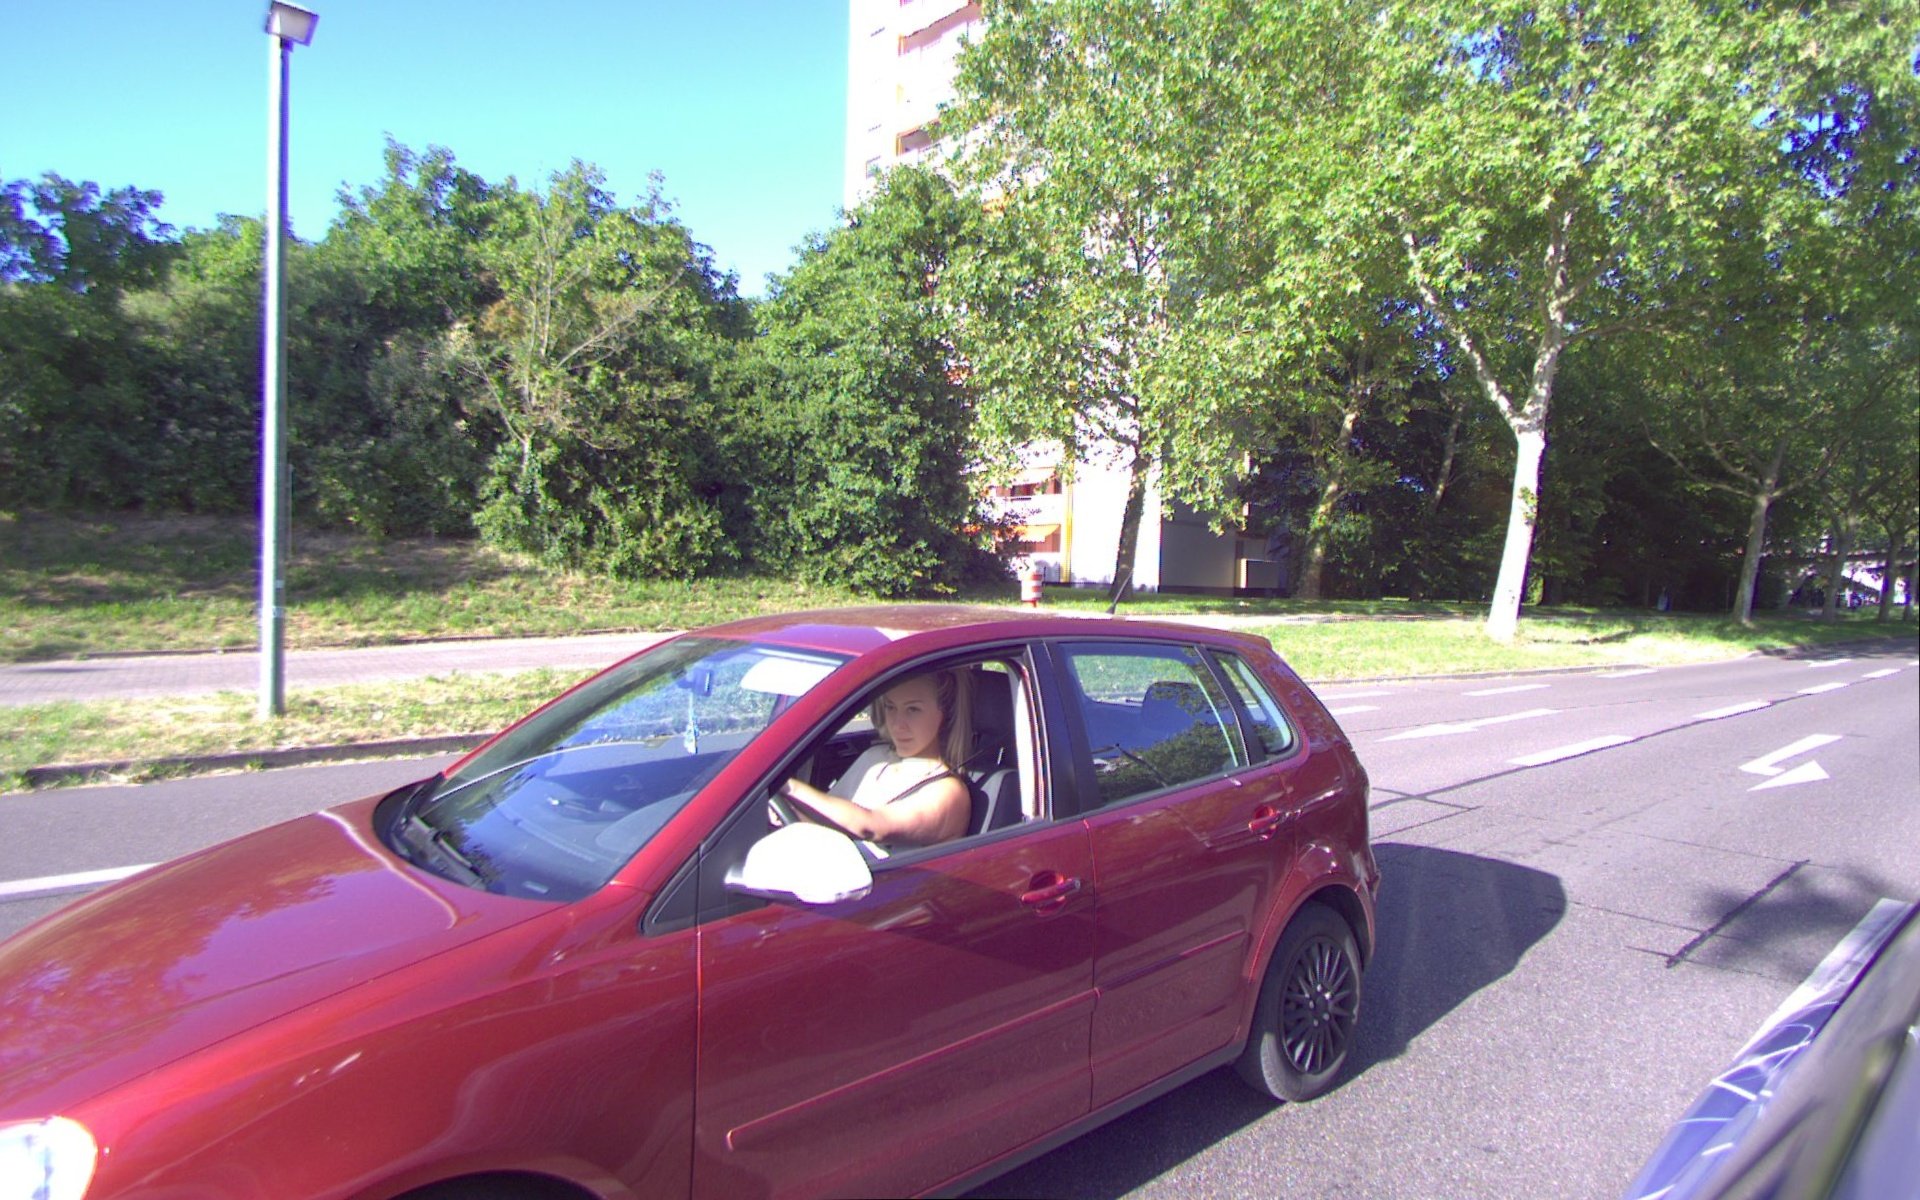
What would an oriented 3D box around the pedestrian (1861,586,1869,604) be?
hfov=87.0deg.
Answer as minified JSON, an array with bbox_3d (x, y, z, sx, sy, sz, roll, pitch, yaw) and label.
[{"bbox_3d":[75.329,-0.387,84.257,0.410,1.481,0.398,0,1,-41],"label":"pedestrian"}]

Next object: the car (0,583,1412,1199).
[{"bbox_3d":[-0.475,0.692,2.746,3.627,1.434,1.626,0,1,-39],"label":"car"}]
